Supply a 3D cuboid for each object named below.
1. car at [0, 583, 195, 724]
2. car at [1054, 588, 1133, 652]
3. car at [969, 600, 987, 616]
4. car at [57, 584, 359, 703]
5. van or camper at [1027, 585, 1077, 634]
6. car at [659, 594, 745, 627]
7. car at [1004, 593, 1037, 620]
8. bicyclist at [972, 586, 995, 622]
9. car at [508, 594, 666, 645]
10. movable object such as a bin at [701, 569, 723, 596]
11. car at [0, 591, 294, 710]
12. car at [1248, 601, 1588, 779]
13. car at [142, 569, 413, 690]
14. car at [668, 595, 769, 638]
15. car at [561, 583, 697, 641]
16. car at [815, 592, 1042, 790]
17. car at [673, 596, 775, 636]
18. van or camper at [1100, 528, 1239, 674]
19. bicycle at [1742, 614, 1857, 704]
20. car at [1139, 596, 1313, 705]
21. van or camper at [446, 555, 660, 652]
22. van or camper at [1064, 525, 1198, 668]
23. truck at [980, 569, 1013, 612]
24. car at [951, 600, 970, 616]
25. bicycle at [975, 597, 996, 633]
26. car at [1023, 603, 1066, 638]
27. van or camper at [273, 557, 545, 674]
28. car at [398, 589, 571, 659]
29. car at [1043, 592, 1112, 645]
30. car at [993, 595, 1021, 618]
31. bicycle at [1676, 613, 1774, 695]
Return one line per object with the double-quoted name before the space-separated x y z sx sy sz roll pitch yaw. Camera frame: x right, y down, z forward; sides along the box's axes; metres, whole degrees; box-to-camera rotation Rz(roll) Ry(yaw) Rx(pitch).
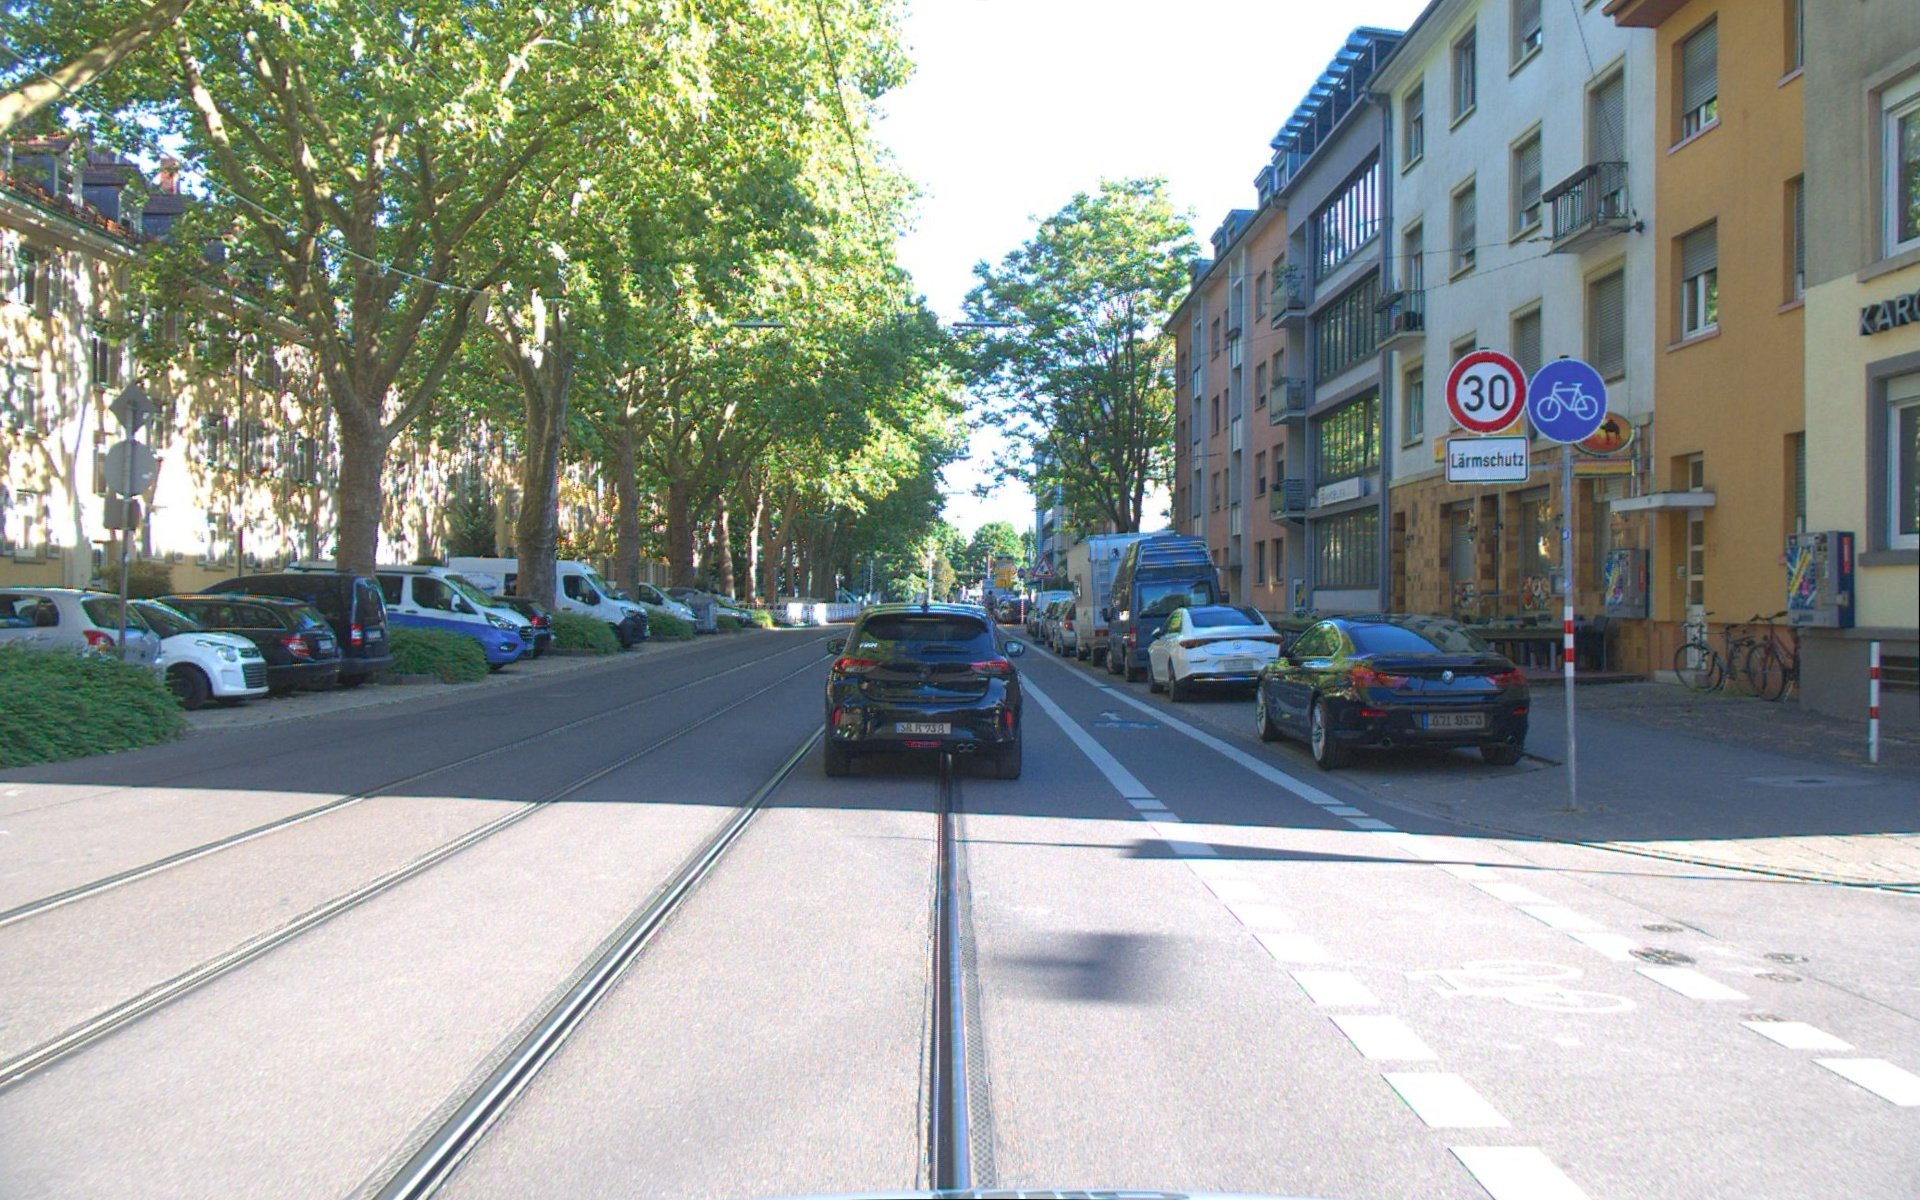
"car" -11.298 0.592 19.667 3.604 1.581 1.705 1 0 5
"car" 3.682 0.518 46.370 1.756 1.656 4.276 -2 0 -1
"car" 2.052 0.928 192.167 1.953 1.725 4.739 -2 0 -1
"car" -10.929 0.617 24.262 3.611 1.652 1.797 1 0 -6
"van or camper" 3.744 0.363 68.029 1.719 1.897 4.829 -1 0 -1
"car" -12.220 0.485 78.544 3.768 1.524 1.862 -1 0 0
"car" 3.548 0.375 97.615 1.698 1.487 3.915 -2 0 -1
"bicyclist" 1.089 0.194 77.198 1.067 1.676 1.400 1 0 0
"car" -10.828 0.546 48.207 4.177 1.423 1.753 -1 0 0
"movable object such as a bin" -17.966 -1.229 119.759 1.306 1.901 2.007 1 0 -1
"car" -11.035 0.651 22.116 3.612 1.511 1.699 1 0 -7
"car" 4.283 0.762 16.346 1.953 1.404 4.739 -2 0 -1
"car" -10.874 0.460 26.533 3.607 1.846 1.704 1 0 -1
"car" -10.505 0.713 72.085 4.112 1.788 1.740 1 0 0
"car" -11.738 0.419 58.904 4.568 1.979 1.959 1 0 -7
"car" -0.270 0.700 14.828 1.745 1.522 3.999 1 0 -1
"car" -10.601 0.717 74.373 4.144 1.717 1.934 -1 0 6
"van or camper" 4.200 0.008 33.980 2.089 2.709 4.979 -2 0 -1
"bicycle" 10.118 0.690 20.005 0.417 1.014 1.858 1 0 -1
"car" 4.203 0.743 26.882 1.953 1.519 4.739 -2 0 -1
"van or camper" -11.205 0.089 45.874 5.278 2.560 2.445 1 0 1
"van or camper" 4.035 -0.093 40.266 2.412 3.117 6.267 -2 0 -1
"truck" 3.026 -0.806 139.323 2.486 3.396 7.194 -3 0 0
"car" 0.041 0.862 184.912 1.953 1.725 4.739 -2 0 -1
"bicycle" 1.177 0.688 77.008 0.897 1.588 3.405 1 0 0
"car" 3.750 0.894 73.750 1.671 1.498 3.999 -1 0 -1
"van or camper" -10.874 0.299 32.947 4.725 2.228 2.117 1 0 -4
"car" -11.248 0.549 39.264 3.605 1.592 1.613 1 0 2
"car" 3.651 0.545 51.908 1.752 1.548 4.321 -2 0 -1
"car" 3.121 0.419 110.750 1.625 1.424 4.739 -2 0 -1
"bicycle" 10.111 0.698 21.918 0.417 1.014 1.858 1 0 -1
